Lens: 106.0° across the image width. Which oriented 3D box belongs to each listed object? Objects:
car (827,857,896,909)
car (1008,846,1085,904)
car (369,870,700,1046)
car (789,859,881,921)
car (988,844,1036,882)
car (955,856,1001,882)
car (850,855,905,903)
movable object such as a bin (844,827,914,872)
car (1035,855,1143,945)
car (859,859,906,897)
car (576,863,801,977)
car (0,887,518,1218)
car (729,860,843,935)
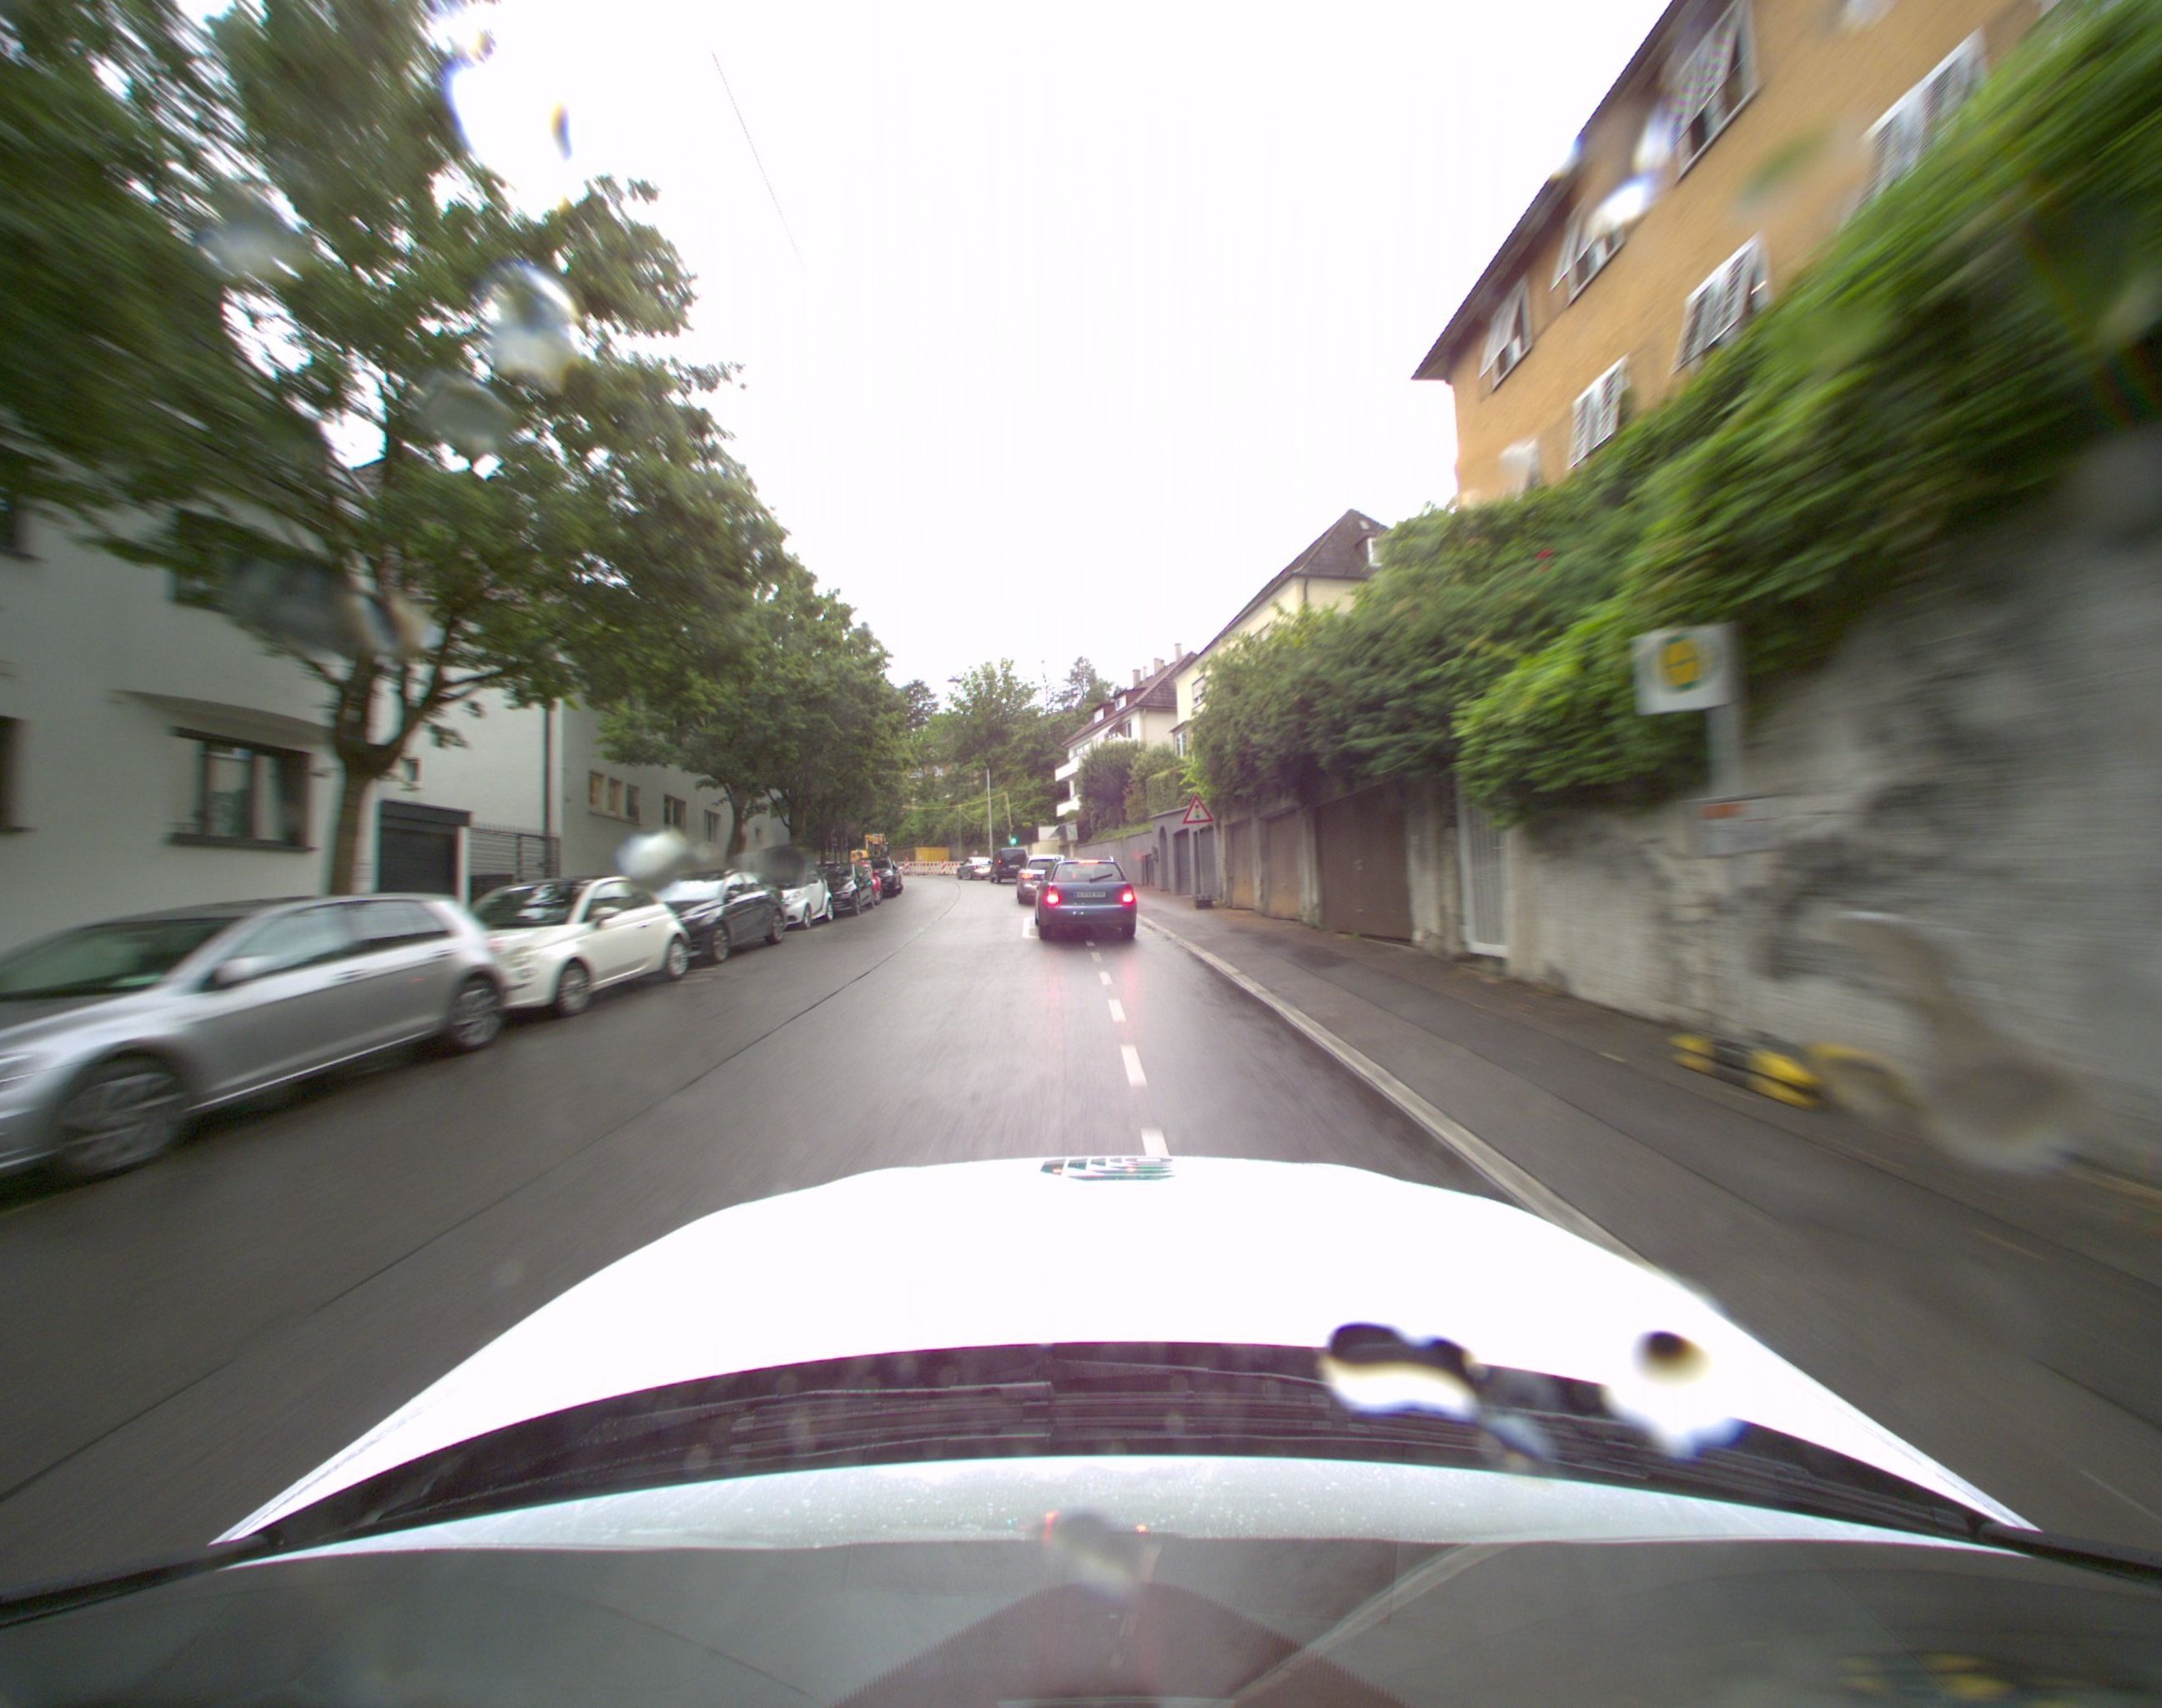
[{"bbox_3d":[-7.484,0.962,28.134,1.631,1.565,3.840,-4,0,-6],"label":"car"},{"bbox_3d":[-1.184,0.603,25.668,1.926,1.618,4.307,-1,0,-9],"label":"car"},{"bbox_3d":[-6.207,1.055,9.785,1.570,1.488,3.467,-5,1,-2],"label":"car"},{"bbox_3d":[-6.934,0.966,23.340,1.553,1.488,4.091,-5,0,-4],"label":"car"},{"bbox_3d":[-3.700,0.470,42.941,1.995,1.793,3.984,-3,0,-12],"label":"car"},{"bbox_3d":[-6.464,0.908,50.923,1.728,1.486,4.044,-3,0,-23],"label":"car"},{"bbox_3d":[-8.297,0.958,33.542,1.682,1.608,4.562,-7,1,-9],"label":"car"},{"bbox_3d":[-18.807,-0.384,75.406,7.235,4.014,2.845,-1,0,44],"label":"movable object such as a bin"},{"bbox_3d":[0.034,0.761,15.623,1.782,1.442,3.959,-2,0,-3],"label":"car"},{"bbox_3d":[-9.262,1.092,38.307,1.681,1.508,4.302,-5,1,-9],"label":"car"},{"bbox_3d":[-6.482,0.981,14.093,1.660,1.488,4.472,-5,0,-1],"label":"car"},{"bbox_3d":[-6.039,1.088,5.524,1.613,1.470,3.970,-5,-1,-1],"label":"car"},{"bbox_3d":[-6.974,0.977,19.586,1.552,1.510,3.379,-5,0,-3],"label":"car"}]
